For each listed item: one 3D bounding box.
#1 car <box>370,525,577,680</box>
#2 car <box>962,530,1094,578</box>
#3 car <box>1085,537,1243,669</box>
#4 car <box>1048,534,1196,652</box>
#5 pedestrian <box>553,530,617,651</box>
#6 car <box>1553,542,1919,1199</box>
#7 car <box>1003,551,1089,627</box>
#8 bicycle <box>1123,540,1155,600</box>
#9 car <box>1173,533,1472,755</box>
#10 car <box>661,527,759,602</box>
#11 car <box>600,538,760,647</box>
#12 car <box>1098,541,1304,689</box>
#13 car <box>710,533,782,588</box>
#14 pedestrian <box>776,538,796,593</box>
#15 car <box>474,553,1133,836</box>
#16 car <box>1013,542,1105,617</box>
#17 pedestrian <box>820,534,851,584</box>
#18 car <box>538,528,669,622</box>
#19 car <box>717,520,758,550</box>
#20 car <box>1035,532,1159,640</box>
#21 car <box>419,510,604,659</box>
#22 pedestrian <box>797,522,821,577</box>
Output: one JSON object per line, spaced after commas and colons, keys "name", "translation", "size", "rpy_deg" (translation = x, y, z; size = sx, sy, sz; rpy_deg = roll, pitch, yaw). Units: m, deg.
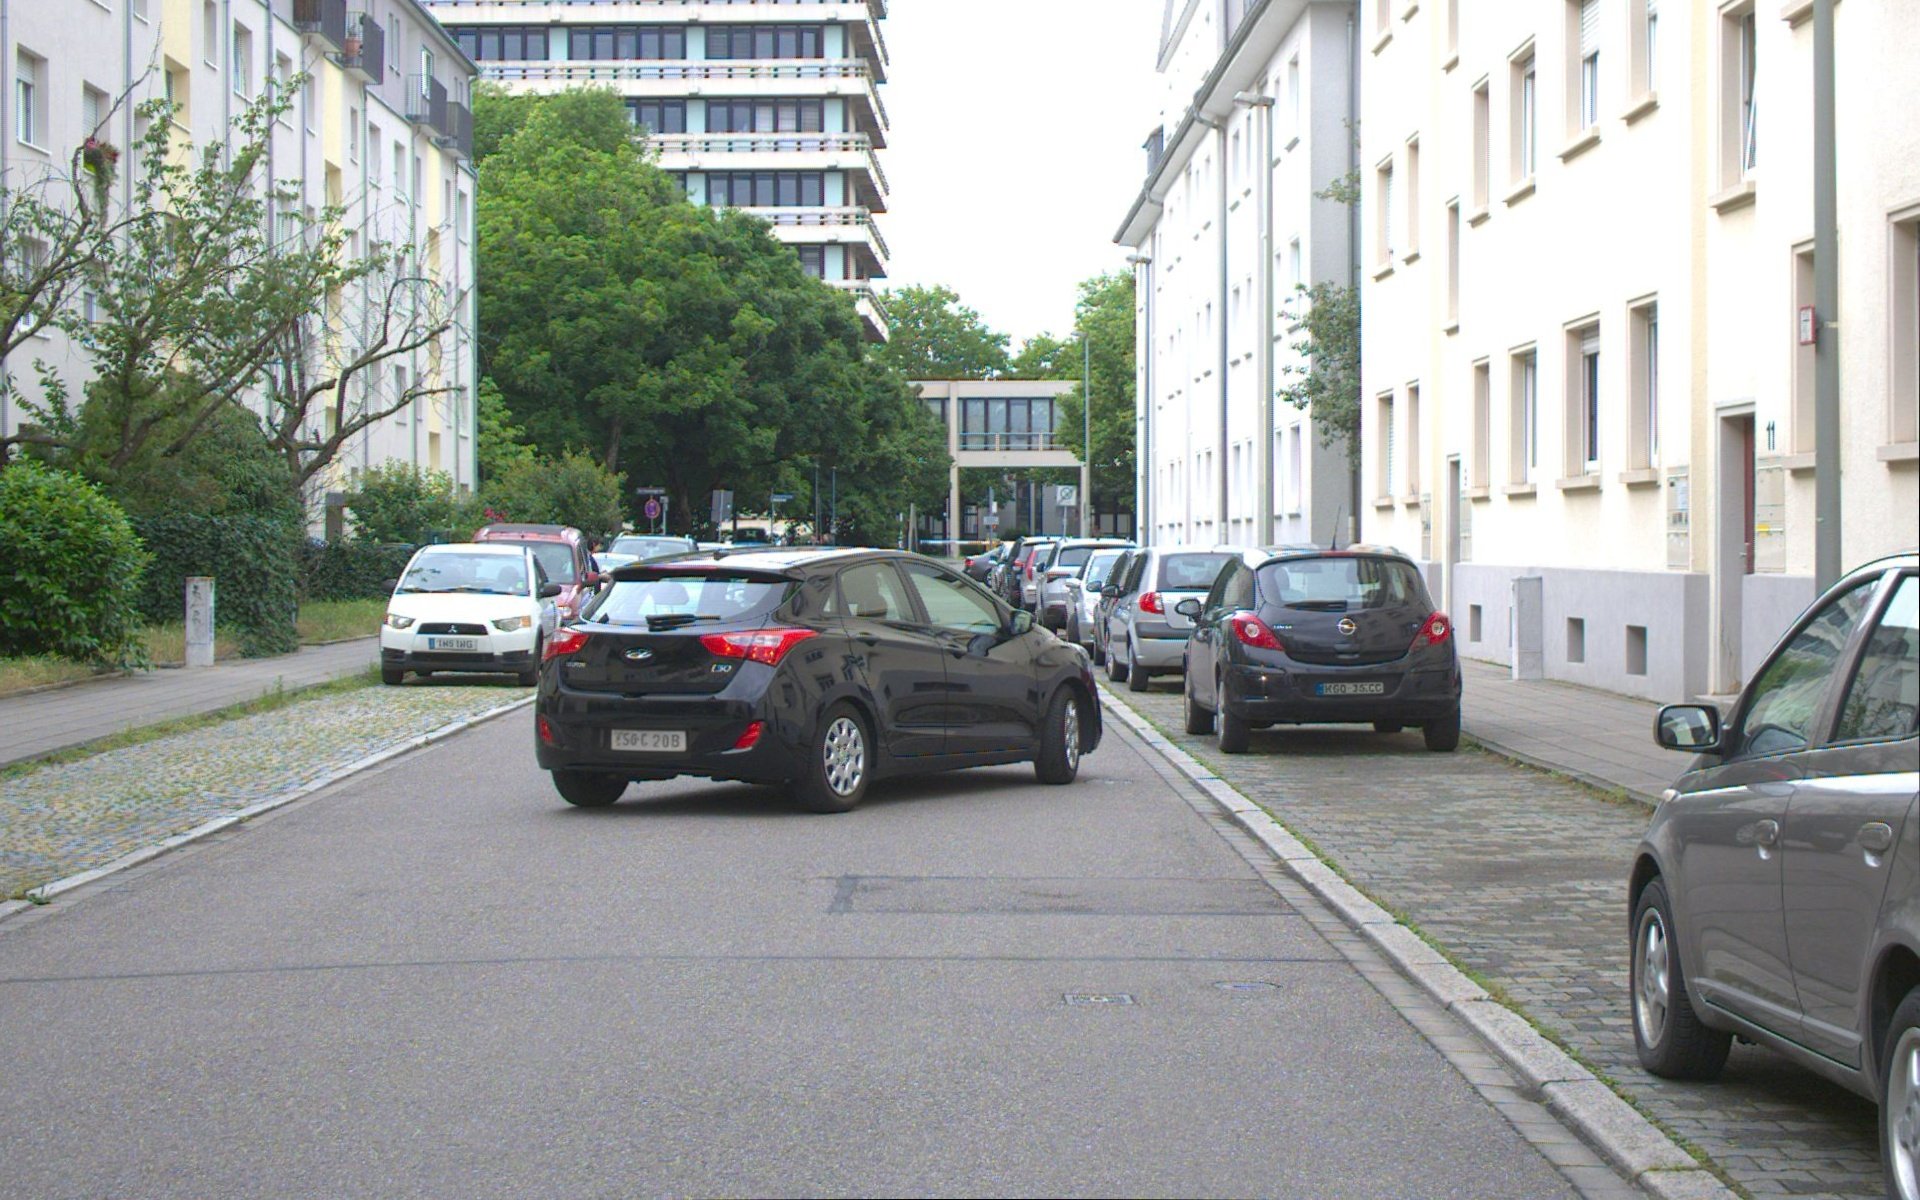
{"name": "car", "translation": [-5.311, -0.008, 37.911], "size": [1.720, 1.564, 3.870], "rpy_deg": [2, 1, -1]}
{"name": "car", "translation": [2.152, -1.479, 110.113], "size": [4.143, 1.492, 1.810], "rpy_deg": [0, 1, -2]}
{"name": "car", "translation": [2.380, -0.001, 40.909], "size": [1.603, 1.471, 3.869], "rpy_deg": [1, 1, 0]}
{"name": "car", "translation": [2.112, -0.129, 45.827], "size": [1.725, 1.471, 4.505], "rpy_deg": [1, 1, 0]}
{"name": "pedestrian", "translation": [-5.339, -0.141, 48.917], "size": [0.740, 1.696, 0.796], "rpy_deg": [-1, 1, -18]}
{"name": "car", "translation": [2.733, 0.616, 8.649], "size": [1.725, 1.512, 4.061], "rpy_deg": [0, 1, -1]}
{"name": "car", "translation": [1.878, -0.263, 75.976], "size": [1.820, 1.597, 4.091], "rpy_deg": [0, 1, 0]}
{"name": "bicycle", "translation": [3.623, -0.620, 69.547], "size": [0.530, 1.171, 2.036], "rpy_deg": [-1, 1, 6]}
{"name": "car", "translation": [2.602, 0.261, 25.505], "size": [1.725, 1.512, 4.061], "rpy_deg": [0, 1, -1]}
{"name": "car", "translation": [-5.676, -0.834, 78.605], "size": [1.895, 1.593, 4.521], "rpy_deg": [2, 1, -1]}
{"name": "car", "translation": [-3.944, -0.141, 49.069], "size": [1.845, 1.446, 4.501], "rpy_deg": [1, 1, 1]}
{"name": "car", "translation": [2.454, 0.111, 35.795], "size": [1.848, 1.445, 3.833], "rpy_deg": [0, 1, 0]}
{"name": "car", "translation": [-6.165, -1.152, 99.232], "size": [1.993, 1.535, 4.001], "rpy_deg": [1, 1, -3]}
{"name": "pedestrian", "translation": [-5.817, -1.142, 114.660], "size": [0.605, 1.825, 0.675], "rpy_deg": [0, 1, 1]}
{"name": "car", "translation": [-0.776, 0.458, 20.005], "size": [1.906, 1.428, 4.226], "rpy_deg": [0, 1, 29]}
{"name": "car", "translation": [2.024, -0.439, 71.249], "size": [1.820, 1.498, 4.091], "rpy_deg": [0, 1, 0]}
{"name": "pedestrian", "translation": [-4.153, -1.378, 114.955], "size": [0.972, 1.648, 0.980], "rpy_deg": [0, 1, 2]}
{"name": "car", "translation": [-5.712, -0.433, 55.420], "size": [1.744, 1.459, 3.786], "rpy_deg": [0, 1, -1]}
{"name": "car", "translation": [-10.189, -2.986, 157.431], "size": [1.665, 1.328, 3.396], "rpy_deg": [0, 1, 0]}
{"name": "car", "translation": [2.156, -0.256, 54.932], "size": [1.820, 1.636, 4.091], "rpy_deg": [1, 1, 0]}
{"name": "car", "translation": [-5.649, -0.228, 43.761], "size": [1.956, 1.764, 4.362], "rpy_deg": [1, 1, -3]}
{"name": "pedestrian", "translation": [-5.057, -1.699, 115.090], "size": [0.714, 1.825, 0.797], "rpy_deg": [0, 1, 2]}
